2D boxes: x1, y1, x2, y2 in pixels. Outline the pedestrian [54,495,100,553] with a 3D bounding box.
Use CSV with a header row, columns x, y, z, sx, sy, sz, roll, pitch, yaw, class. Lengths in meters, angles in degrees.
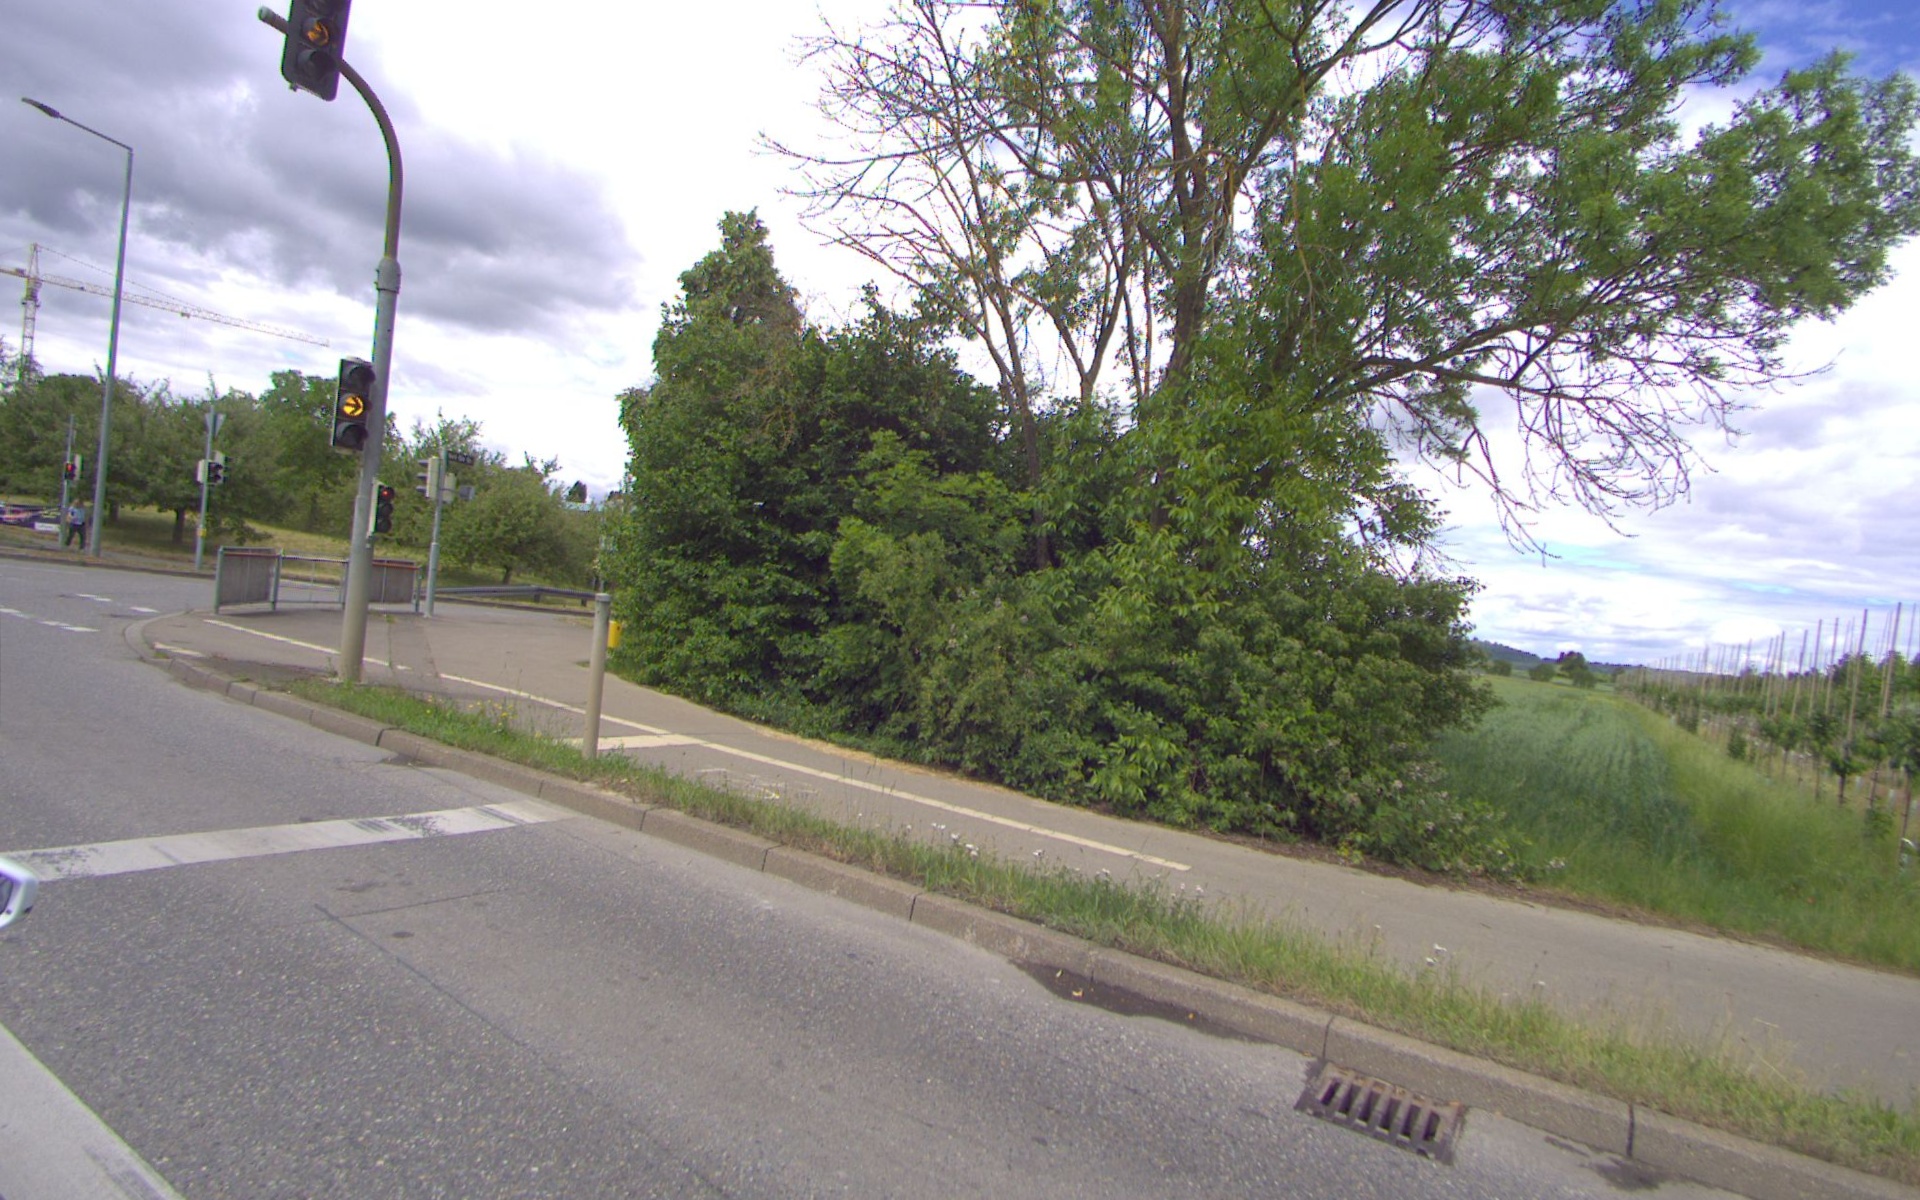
x,y,z,sx,sy,sz,roll,pitch,yaw,class
-30.151,-2.582,34.353,1.026,1.813,0.719,7,-1,30,pedestrian
